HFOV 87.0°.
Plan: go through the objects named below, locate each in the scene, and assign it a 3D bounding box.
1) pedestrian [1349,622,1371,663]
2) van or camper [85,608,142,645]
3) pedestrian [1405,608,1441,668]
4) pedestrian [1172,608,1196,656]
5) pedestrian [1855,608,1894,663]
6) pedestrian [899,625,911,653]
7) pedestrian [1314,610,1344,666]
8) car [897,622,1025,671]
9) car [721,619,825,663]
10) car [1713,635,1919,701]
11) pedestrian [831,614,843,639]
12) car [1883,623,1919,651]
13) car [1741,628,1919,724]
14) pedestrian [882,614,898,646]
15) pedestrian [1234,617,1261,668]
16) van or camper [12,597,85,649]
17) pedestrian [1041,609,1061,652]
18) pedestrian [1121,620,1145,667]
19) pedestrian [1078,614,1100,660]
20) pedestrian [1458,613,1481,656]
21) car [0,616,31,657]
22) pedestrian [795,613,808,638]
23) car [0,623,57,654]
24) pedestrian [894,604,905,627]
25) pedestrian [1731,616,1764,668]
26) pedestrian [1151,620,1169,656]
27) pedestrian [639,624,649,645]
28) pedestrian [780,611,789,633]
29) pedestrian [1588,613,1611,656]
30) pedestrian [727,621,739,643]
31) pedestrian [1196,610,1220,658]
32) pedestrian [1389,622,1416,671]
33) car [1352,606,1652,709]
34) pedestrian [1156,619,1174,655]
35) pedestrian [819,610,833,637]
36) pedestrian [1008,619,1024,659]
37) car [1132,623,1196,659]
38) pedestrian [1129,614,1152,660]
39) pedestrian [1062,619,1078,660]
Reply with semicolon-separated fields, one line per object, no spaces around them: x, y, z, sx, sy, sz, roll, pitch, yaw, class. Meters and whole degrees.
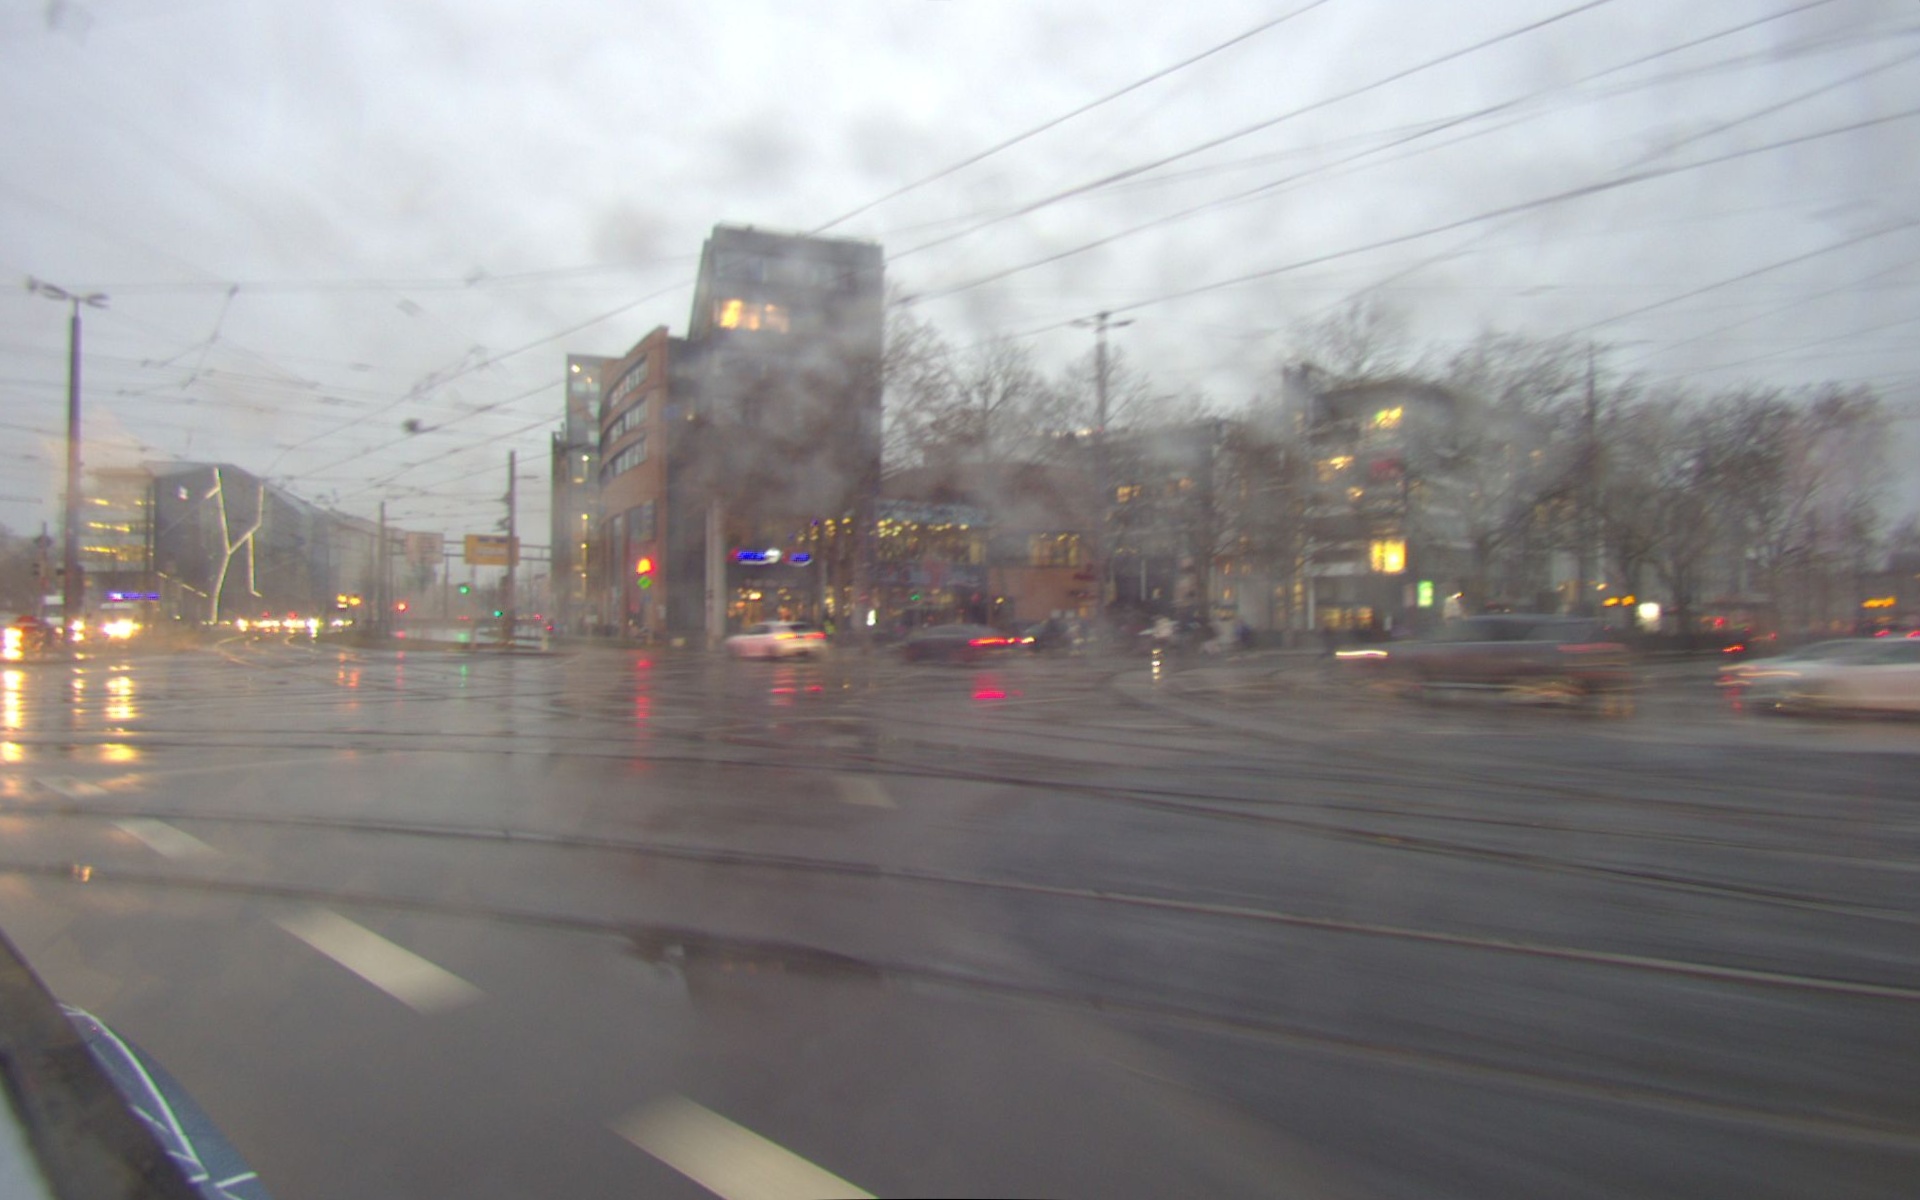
15.203;1.594;38.484;0.511;1.549;0.577;1;-2;-27;pedestrian
-57.987;1.779;69.435;2.150;2.370;5.666;-1;-1;-31;van or camper
15.877;1.296;34.714;0.786;2.029;0.762;1;-1;-20;pedestrian
9.604;1.386;43.452;0.695;2.029;0.762;1;-1;-20;pedestrian
34.068;1.319;37.710;0.754;2.029;0.929;0;-1;21;pedestrian
-3.376;2.350;61.864;0.593;1.696;0.558;-1;-2;21;pedestrian
13.452;1.371;36.932;0.695;2.029;0.762;1;-1;-20;pedestrian
-0.017;1.510;33.851;4.235;1.516;1.733;-1;-2;43;car
-6.858;1.452;36.914;1.649;1.506;4.203;2;-2;-45;car
19.709;1.472;22.698;1.590;1.331;4.238;1;-2;-36;car
-8.831;1.899;72.654;0.715;1.721;0.696;1;-2;-27;pedestrian
63.155;2.437;67.250;3.645;1.796;2.112;1;-2;-38;car
16.399;1.282;17.450;1.808;1.568;4.447;1;-2;-45;car
-4.521;1.937;65.308;0.756;2.029;0.700;0;-2;30;pedestrian
11.590;1.707;40.799;0.696;2.029;0.761;1;-2;-36;pedestrian
-47.716;1.175;53.089;2.028;2.567;5.900;-1;0;-34;van or camper
4.347;1.431;48.230;0.695;2.029;0.762;1;-1;-20;pedestrian
7.563;1.890;44.193;0.695;2.029;0.761;1;-2;-34;pedestrian
5.789;1.665;45.514;0.756;2.029;0.700;0;-2;30;pedestrian
24.275;1.640;48.246;0.735;2.029;0.721;2;-2;-39;pedestrian
-38.603;1.441;40.439;1.658;1.585;3.770;1;-2;-35;car
-10.969;1.754;69.948;0.729;1.669;0.696;1;-2;-27;pedestrian
-42.757;1.737;46.202;1.796;1.342;4.235;-1;-1;-35;car
-4.523;1.170;75.894;0.643;1.764;0.447;1;-2;-36;pedestrian
29.433;1.575;37.843;0.826;1.914;0.787;1;-2;-39;pedestrian
8.821;1.665;44.628;0.511;1.549;0.577;1;-2;-27;pedestrian
-19.534;2.158;62.548;0.439;1.274;0.497;-1;0;-40;pedestrian
-14.148;1.790;81.413;0.682;1.721;0.928;1;-2;-8;pedestrian
30.350;1.626;48.029;0.735;2.029;0.721;2;-2;-39;pedestrian
-16.340;2.300;72.848;0.641;1.515;0.696;1;-2;-27;pedestrian
10.591;1.463;43.192;0.695;2.029;0.762;1;-1;-20;pedestrian
14.026;1.471;32.090;0.511;1.549;0.577;1;-2;-27;pedestrian
10.117;0.996;19.177;4.706;1.722;1.808;-1;-2;44;car
8.903;1.591;43.954;0.511;1.549;0.577;1;-2;-27;pedestrian
-9.562;1.673;72.187;0.762;1.860;0.925;1;-2;-24;pedestrian
2.804;1.954;50.894;0.700;2.029;0.774;0;-1;12;pedestrian
12.612;2.516;62.405;4.016;2.153;1.922;2;-1;-45;car
8.081;1.636;45.209;0.747;2.029;0.708;2;-2;-42;pedestrian
5.299;1.887;48.665;0.520;1.973;0.670;1;-2;-23;pedestrian
